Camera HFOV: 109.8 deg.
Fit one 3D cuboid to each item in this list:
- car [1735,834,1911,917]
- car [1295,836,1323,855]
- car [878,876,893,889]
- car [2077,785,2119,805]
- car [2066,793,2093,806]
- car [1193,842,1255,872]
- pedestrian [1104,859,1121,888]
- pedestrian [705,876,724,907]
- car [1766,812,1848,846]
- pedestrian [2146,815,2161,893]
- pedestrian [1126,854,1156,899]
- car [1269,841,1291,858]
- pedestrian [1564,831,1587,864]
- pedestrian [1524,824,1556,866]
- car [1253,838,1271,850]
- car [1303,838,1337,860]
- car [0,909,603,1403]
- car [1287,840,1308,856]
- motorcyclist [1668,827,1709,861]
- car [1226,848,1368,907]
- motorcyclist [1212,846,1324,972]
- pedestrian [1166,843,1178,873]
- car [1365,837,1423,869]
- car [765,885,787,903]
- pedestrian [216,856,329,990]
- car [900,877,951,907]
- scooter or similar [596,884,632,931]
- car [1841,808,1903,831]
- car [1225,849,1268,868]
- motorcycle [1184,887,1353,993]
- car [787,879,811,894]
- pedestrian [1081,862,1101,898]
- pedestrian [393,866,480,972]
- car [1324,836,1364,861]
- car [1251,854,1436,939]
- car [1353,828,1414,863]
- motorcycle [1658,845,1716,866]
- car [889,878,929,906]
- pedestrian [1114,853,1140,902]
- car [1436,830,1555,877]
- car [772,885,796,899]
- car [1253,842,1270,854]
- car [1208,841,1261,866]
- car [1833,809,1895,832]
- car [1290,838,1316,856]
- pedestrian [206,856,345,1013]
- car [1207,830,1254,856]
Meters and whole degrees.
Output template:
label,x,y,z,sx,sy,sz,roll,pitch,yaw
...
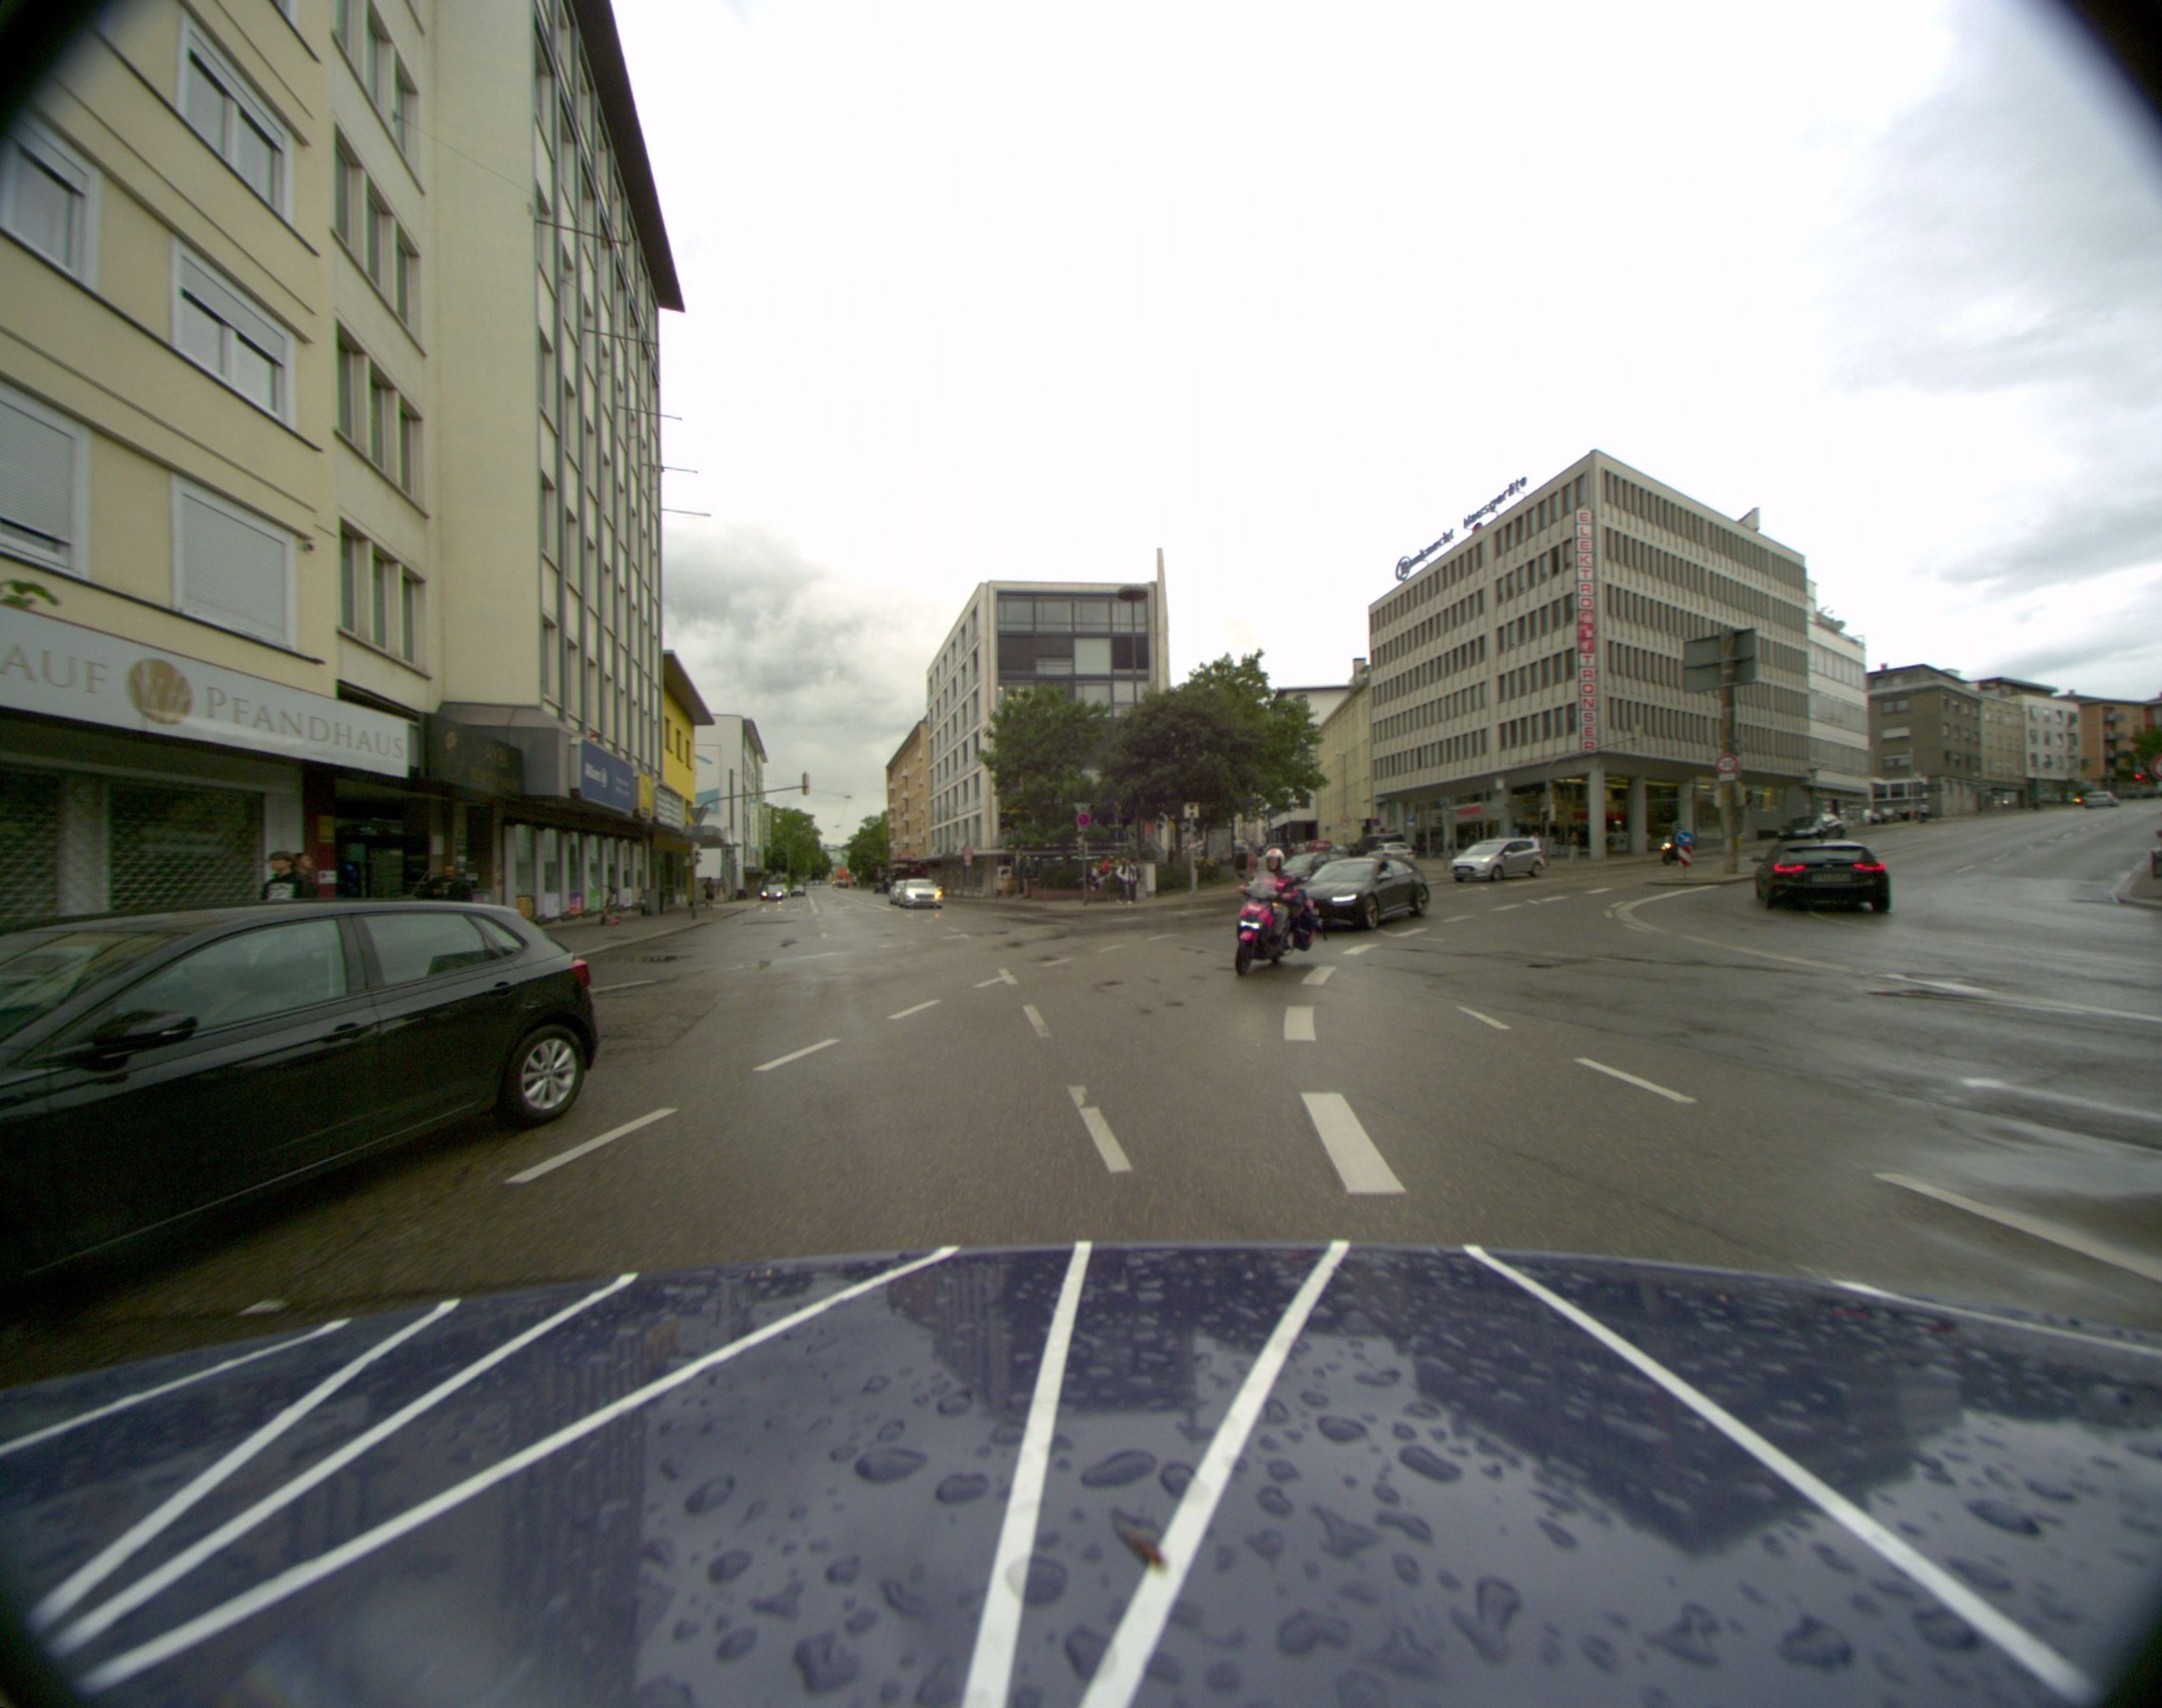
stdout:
label,x,y,z,sx,sy,sz,roll,pitch,yaw
car,16.106,0.414,16.775,1.995,1.542,4.386,-4,0,35
car,24.865,-0.926,82.975,2.025,1.890,4.430,-3,0,6
car,-26.573,3.890,103.188,1.829,1.564,3.995,-3,0,-17
car,102.421,-5.960,76.534,4.005,1.728,1.996,-3,0,-29
car,125.363,-6.841,95.366,3.453,1.364,1.627,-3,0,-30
car,8.680,0.176,46.146,3.540,1.550,1.741,-3,1,13
pedestrian,1.719,1.063,41.355,0.637,1.523,0.592,-3,-1,-16
pedestrian,-19.748,2.004,40.905,0.738,1.636,0.641,-3,1,-18
car,39.540,-1.363,41.388,4.005,1.673,1.996,-3,1,-28
pedestrian,24.491,-0.019,16.977,0.744,1.737,0.731,-3,0,-36
pedestrian,2.419,0.912,30.737,0.784,1.739,0.788,-8,0,-16
car,23.971,-0.508,91.690,2.024,1.830,4.047,-3,0,8
pedestrian,24.846,-0.341,38.166,0.714,1.613,0.724,-2,1,11
pedestrian,22.260,-0.426,36.858,0.993,2.002,0.948,-2,1,8
car,27.940,-1.497,117.263,2.025,1.639,4.430,-3,0,6
car,20.442,-0.418,65.157,1.932,1.662,4.448,-3,0,6
car,-4.270,1.096,3.164,1.741,1.422,3.883,-3,-1,7
car,26.196,-0.687,91.941,1.747,1.784,3.669,-3,0,6
motorcyclist,26.592,-0.433,33.272,1.115,1.434,0.910,-2,1,-17
car,6.811,0.707,23.913,4.109,1.538,1.868,-3,0,-29
motorcyclist,2.564,0.717,10.442,1.090,1.595,0.955,-2,1,45
pedestrian,5.660,0.260,47.264,0.592,1.803,0.705,-4,-1,10
car,17.940,-0.046,43.824,2.000,1.621,4.617,-3,0,9
car,-28.129,3.686,70.171,1.787,1.444,3.994,-3,-1,-21
pedestrian,-11.165,0.925,10.512,0.616,1.752,0.789,-3,0,13
car,-7.728,1.849,37.535,1.977,1.379,3.994,0,-2,-19
scooter or similar,-14.269,1.618,23.236,0.377,1.352,1.148,-3,1,-3
car,78.079,-3.408,75.040,2.003,2.002,3.990,-3,1,-37
car,12.520,0.328,57.394,3.043,1.176,2.053,-3,1,13
motorcycle,2.623,1.105,10.482,1.310,1.129,2.189,-1,1,44
car,-35.593,4.102,95.836,2.003,1.610,4.114,-2,1,-31
pedestrian,0.538,1.345,39.296,0.789,1.803,0.592,-3,-1,-16
pedestrian,-10.970,1.083,12.945,0.753,1.712,0.754,-3,0,13
car,20.057,-0.404,58.171,2.024,1.739,4.617,-3,0,9
car,5.962,0.826,16.890,1.994,1.482,4.744,-1,1,45
car,19.573,-0.508,49.338,2.096,2.078,4.615,-3,0,1
motorcycle,26.487,0.075,33.223,2.397,0.837,0.711,-2,1,-16
car,-10.254,2.203,45.218,1.812,1.489,3.994,-3,0,-19
pedestrian,1.831,0.950,30.219,0.593,1.863,0.788,-8,0,-16
car,16.160,-0.015,29.615,4.108,1.574,1.996,-3,0,-26
car,-34.678,4.386,88.628,2.003,1.444,3.992,-3,-1,-30
car,29.235,-0.909,122.937,2.025,1.825,4.430,-3,0,6
car,10.897,-0.041,54.060,3.541,1.550,1.741,-3,1,10
car,75.124,-3.195,72.937,1.750,1.945,3.990,-3,1,-38
car,25.657,-0.767,87.867,2.025,1.981,4.430,-3,0,6
pedestrian,-9.406,0.927,8.913,0.839,1.753,0.617,2,-2,-15
car,14.076,-1.037,71.587,3.826,2.252,1.988,-3,1,32
